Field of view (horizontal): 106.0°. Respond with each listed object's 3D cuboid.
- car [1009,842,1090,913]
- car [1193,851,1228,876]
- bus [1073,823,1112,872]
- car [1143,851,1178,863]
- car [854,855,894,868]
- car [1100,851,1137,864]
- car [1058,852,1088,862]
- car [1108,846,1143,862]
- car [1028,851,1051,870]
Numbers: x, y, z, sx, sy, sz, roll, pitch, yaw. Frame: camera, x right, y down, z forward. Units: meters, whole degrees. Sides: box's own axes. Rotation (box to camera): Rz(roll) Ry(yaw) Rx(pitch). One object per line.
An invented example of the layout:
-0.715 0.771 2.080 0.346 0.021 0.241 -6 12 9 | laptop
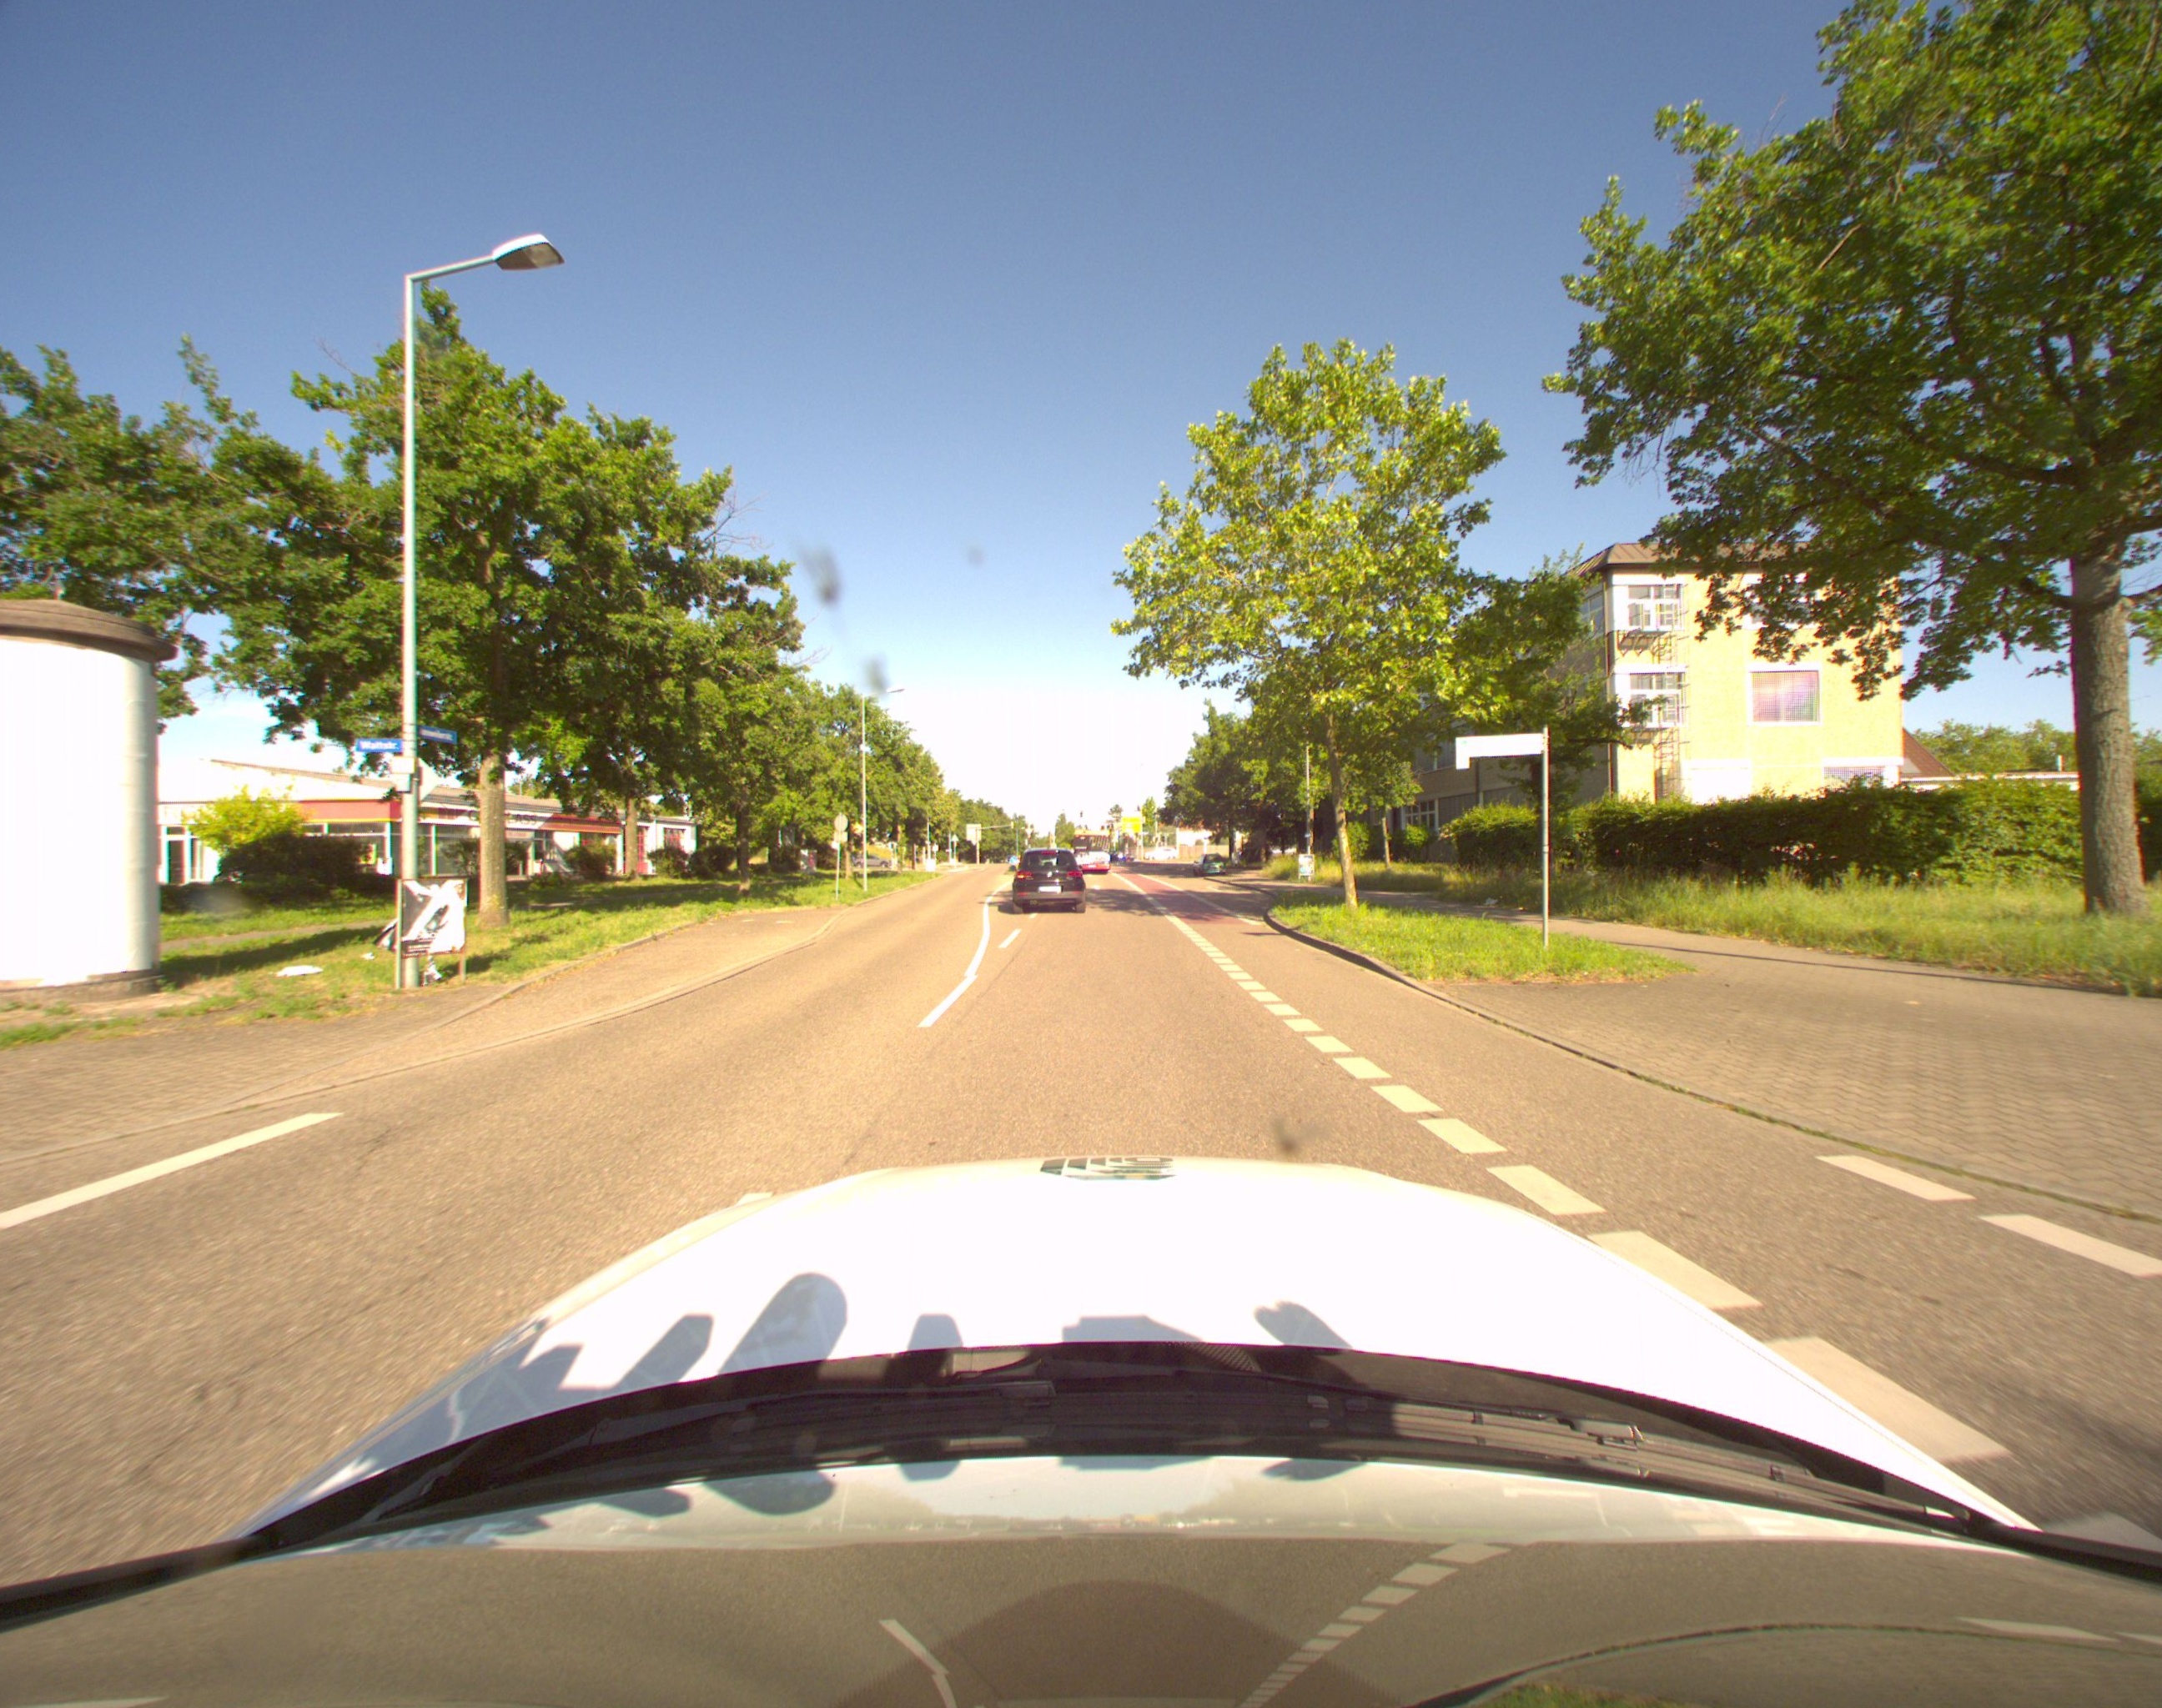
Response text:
-0.729 0.576 21.618 1.814 1.673 4.005 -1 -1 2 | car
8.191 0.579 51.933 1.587 1.428 4.204 -2 0 1 | car
0.784 -0.470 61.125 2.588 3.334 11.982 0 0 0 | bus
10.601 0.402 108.983 4.376 1.683 1.709 0 -1 -5 | car
-23.437 0.826 92.337 4.214 1.480 1.760 0 -1 -5 | car
3.794 0.379 82.364 3.502 1.302 1.578 0 0 8 | car
-1.056 0.394 107.825 3.890 1.340 1.677 0 -1 -9 | car
5.210 0.034 96.028 3.980 1.880 1.997 0 -1 -5 | car
-3.661 0.573 70.940 1.751 1.620 4.025 -1 0 -6 | car
